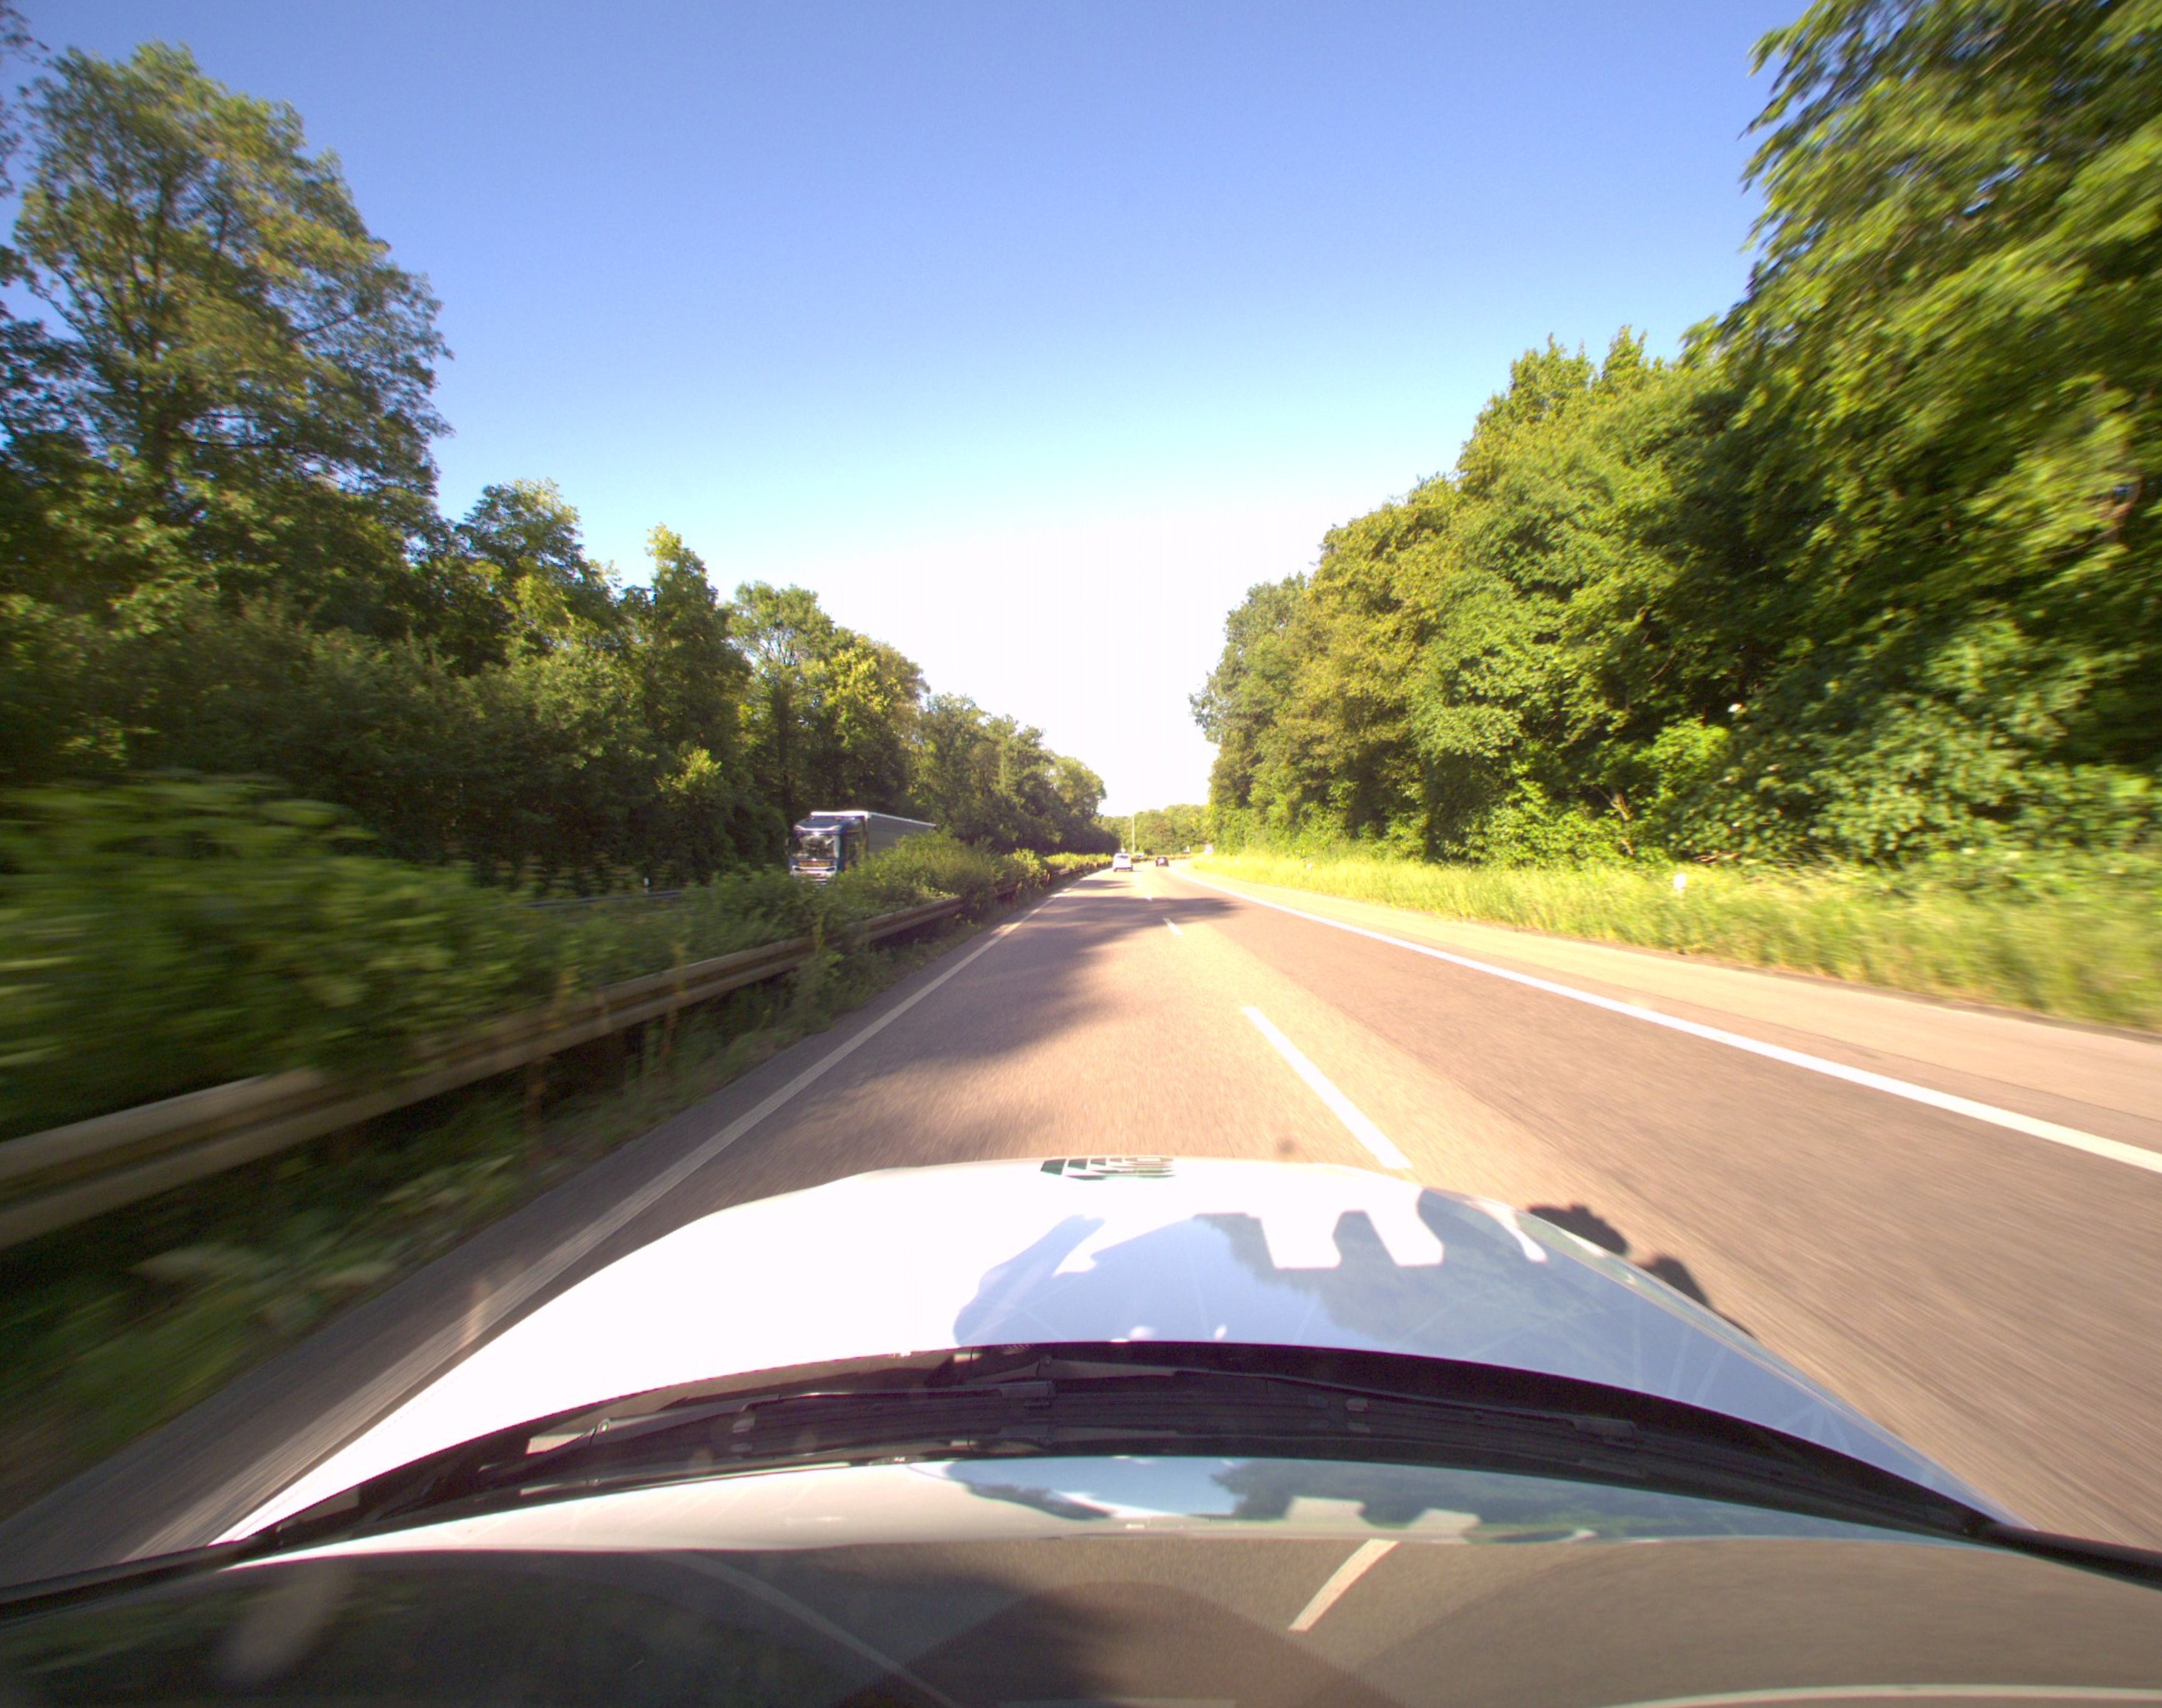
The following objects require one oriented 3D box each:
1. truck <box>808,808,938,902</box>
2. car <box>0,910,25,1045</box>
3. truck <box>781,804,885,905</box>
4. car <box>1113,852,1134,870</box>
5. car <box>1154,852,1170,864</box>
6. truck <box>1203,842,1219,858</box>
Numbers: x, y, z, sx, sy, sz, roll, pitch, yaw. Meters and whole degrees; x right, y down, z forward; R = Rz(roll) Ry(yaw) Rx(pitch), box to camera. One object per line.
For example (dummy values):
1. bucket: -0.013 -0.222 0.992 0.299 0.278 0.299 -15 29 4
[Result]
1. truck: -10.445 0.096 43.030 2.697 4.096 14.029 -1 0 2
2. car: -12.759 1.340 6.959 1.771 1.458 4.272 -1 -1 3
3. truck: -10.746 0.040 35.881 2.705 4.097 5.439 -1 -1 2
4. car: 4.245 0.710 81.549 1.944 1.782 4.588 -1 -1 1
5. car: 11.595 0.578 117.411 1.944 1.782 4.588 -1 -1 1
6. truck: 36.557 -0.955 228.824 3.708 4.343 9.339 -1 -1 14
